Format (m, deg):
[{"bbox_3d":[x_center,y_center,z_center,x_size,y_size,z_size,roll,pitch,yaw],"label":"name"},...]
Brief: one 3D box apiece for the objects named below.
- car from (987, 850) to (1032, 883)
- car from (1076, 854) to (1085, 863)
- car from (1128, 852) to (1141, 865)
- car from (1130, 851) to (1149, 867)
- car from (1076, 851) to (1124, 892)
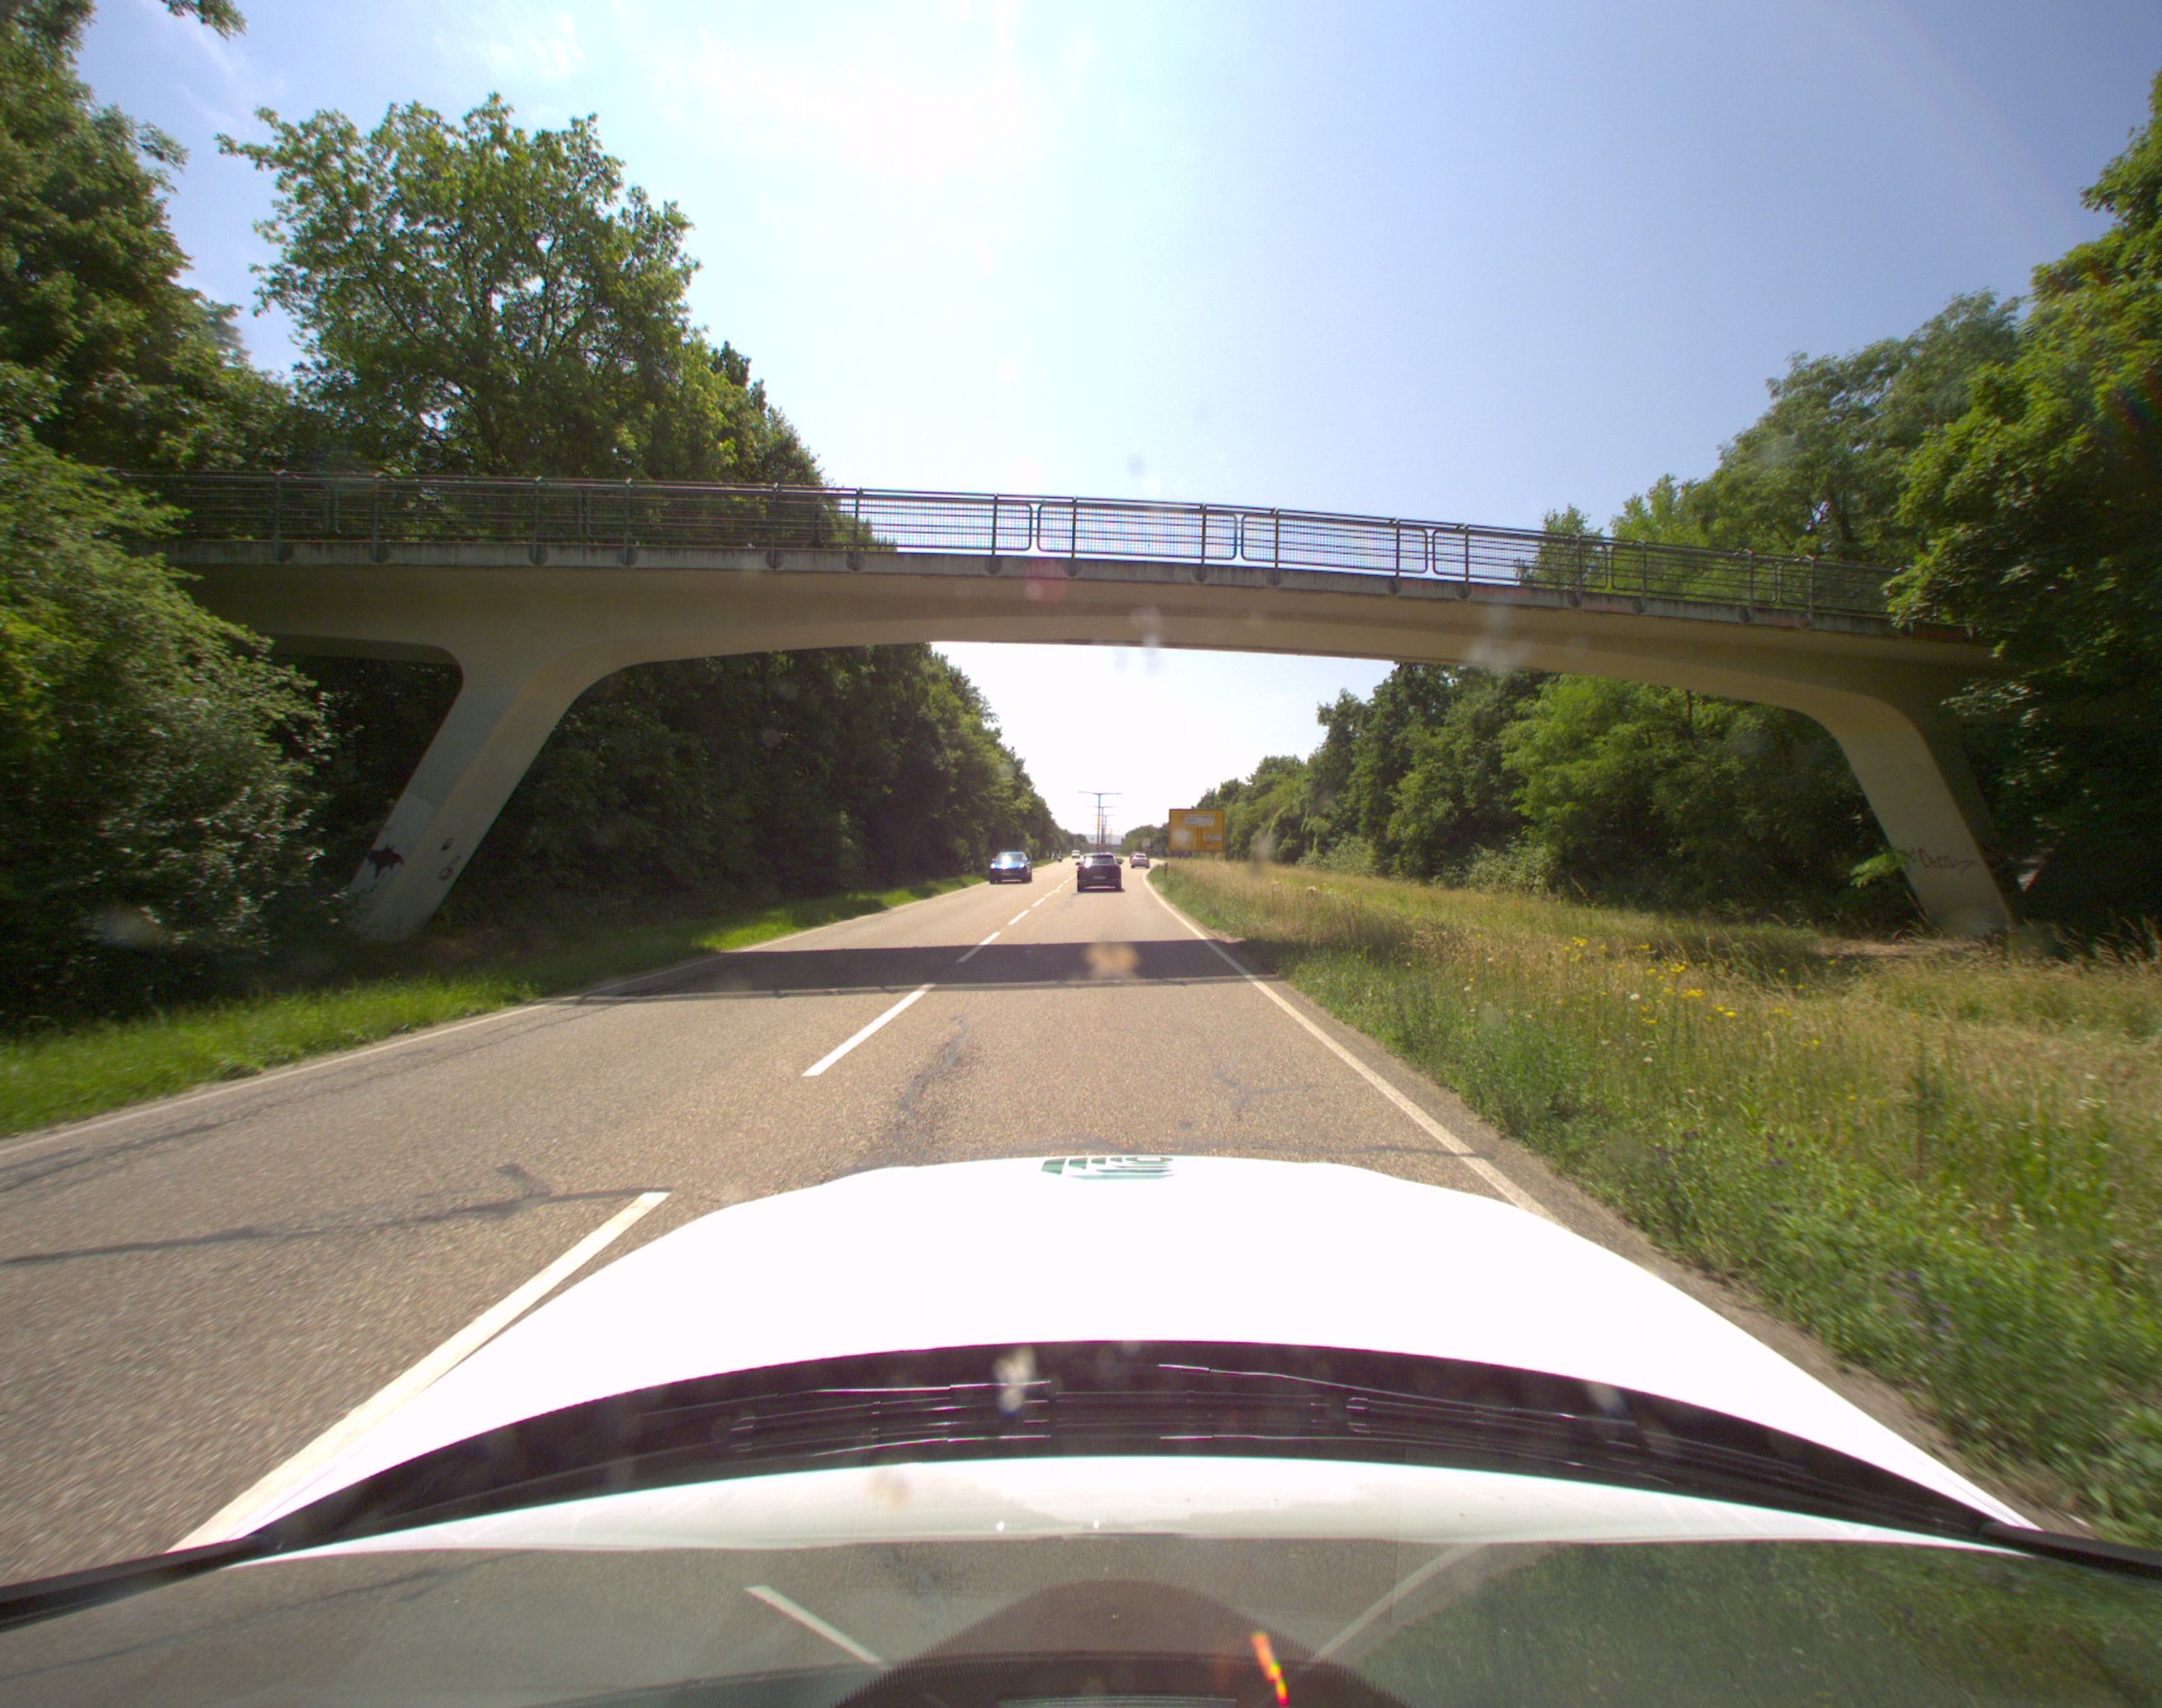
[{"bbox_3d":[-3.709,0.621,42.934,1.816,1.590,4.421,-1,0,2],"label":"car"},{"bbox_3d":[-0.087,0.935,170.803,1.725,1.688,4.096,-1,0,1],"label":"car"},{"bbox_3d":[8.324,0.652,126.614,1.749,1.929,4.001,2,0,2],"label":"car"},{"bbox_3d":[5.948,0.546,83.142,1.790,1.583,4.003,-1,0,3],"label":"car"},{"bbox_3d":[0.741,0.676,33.558,1.751,1.556,3.997,1,0,-2],"label":"car"}]
